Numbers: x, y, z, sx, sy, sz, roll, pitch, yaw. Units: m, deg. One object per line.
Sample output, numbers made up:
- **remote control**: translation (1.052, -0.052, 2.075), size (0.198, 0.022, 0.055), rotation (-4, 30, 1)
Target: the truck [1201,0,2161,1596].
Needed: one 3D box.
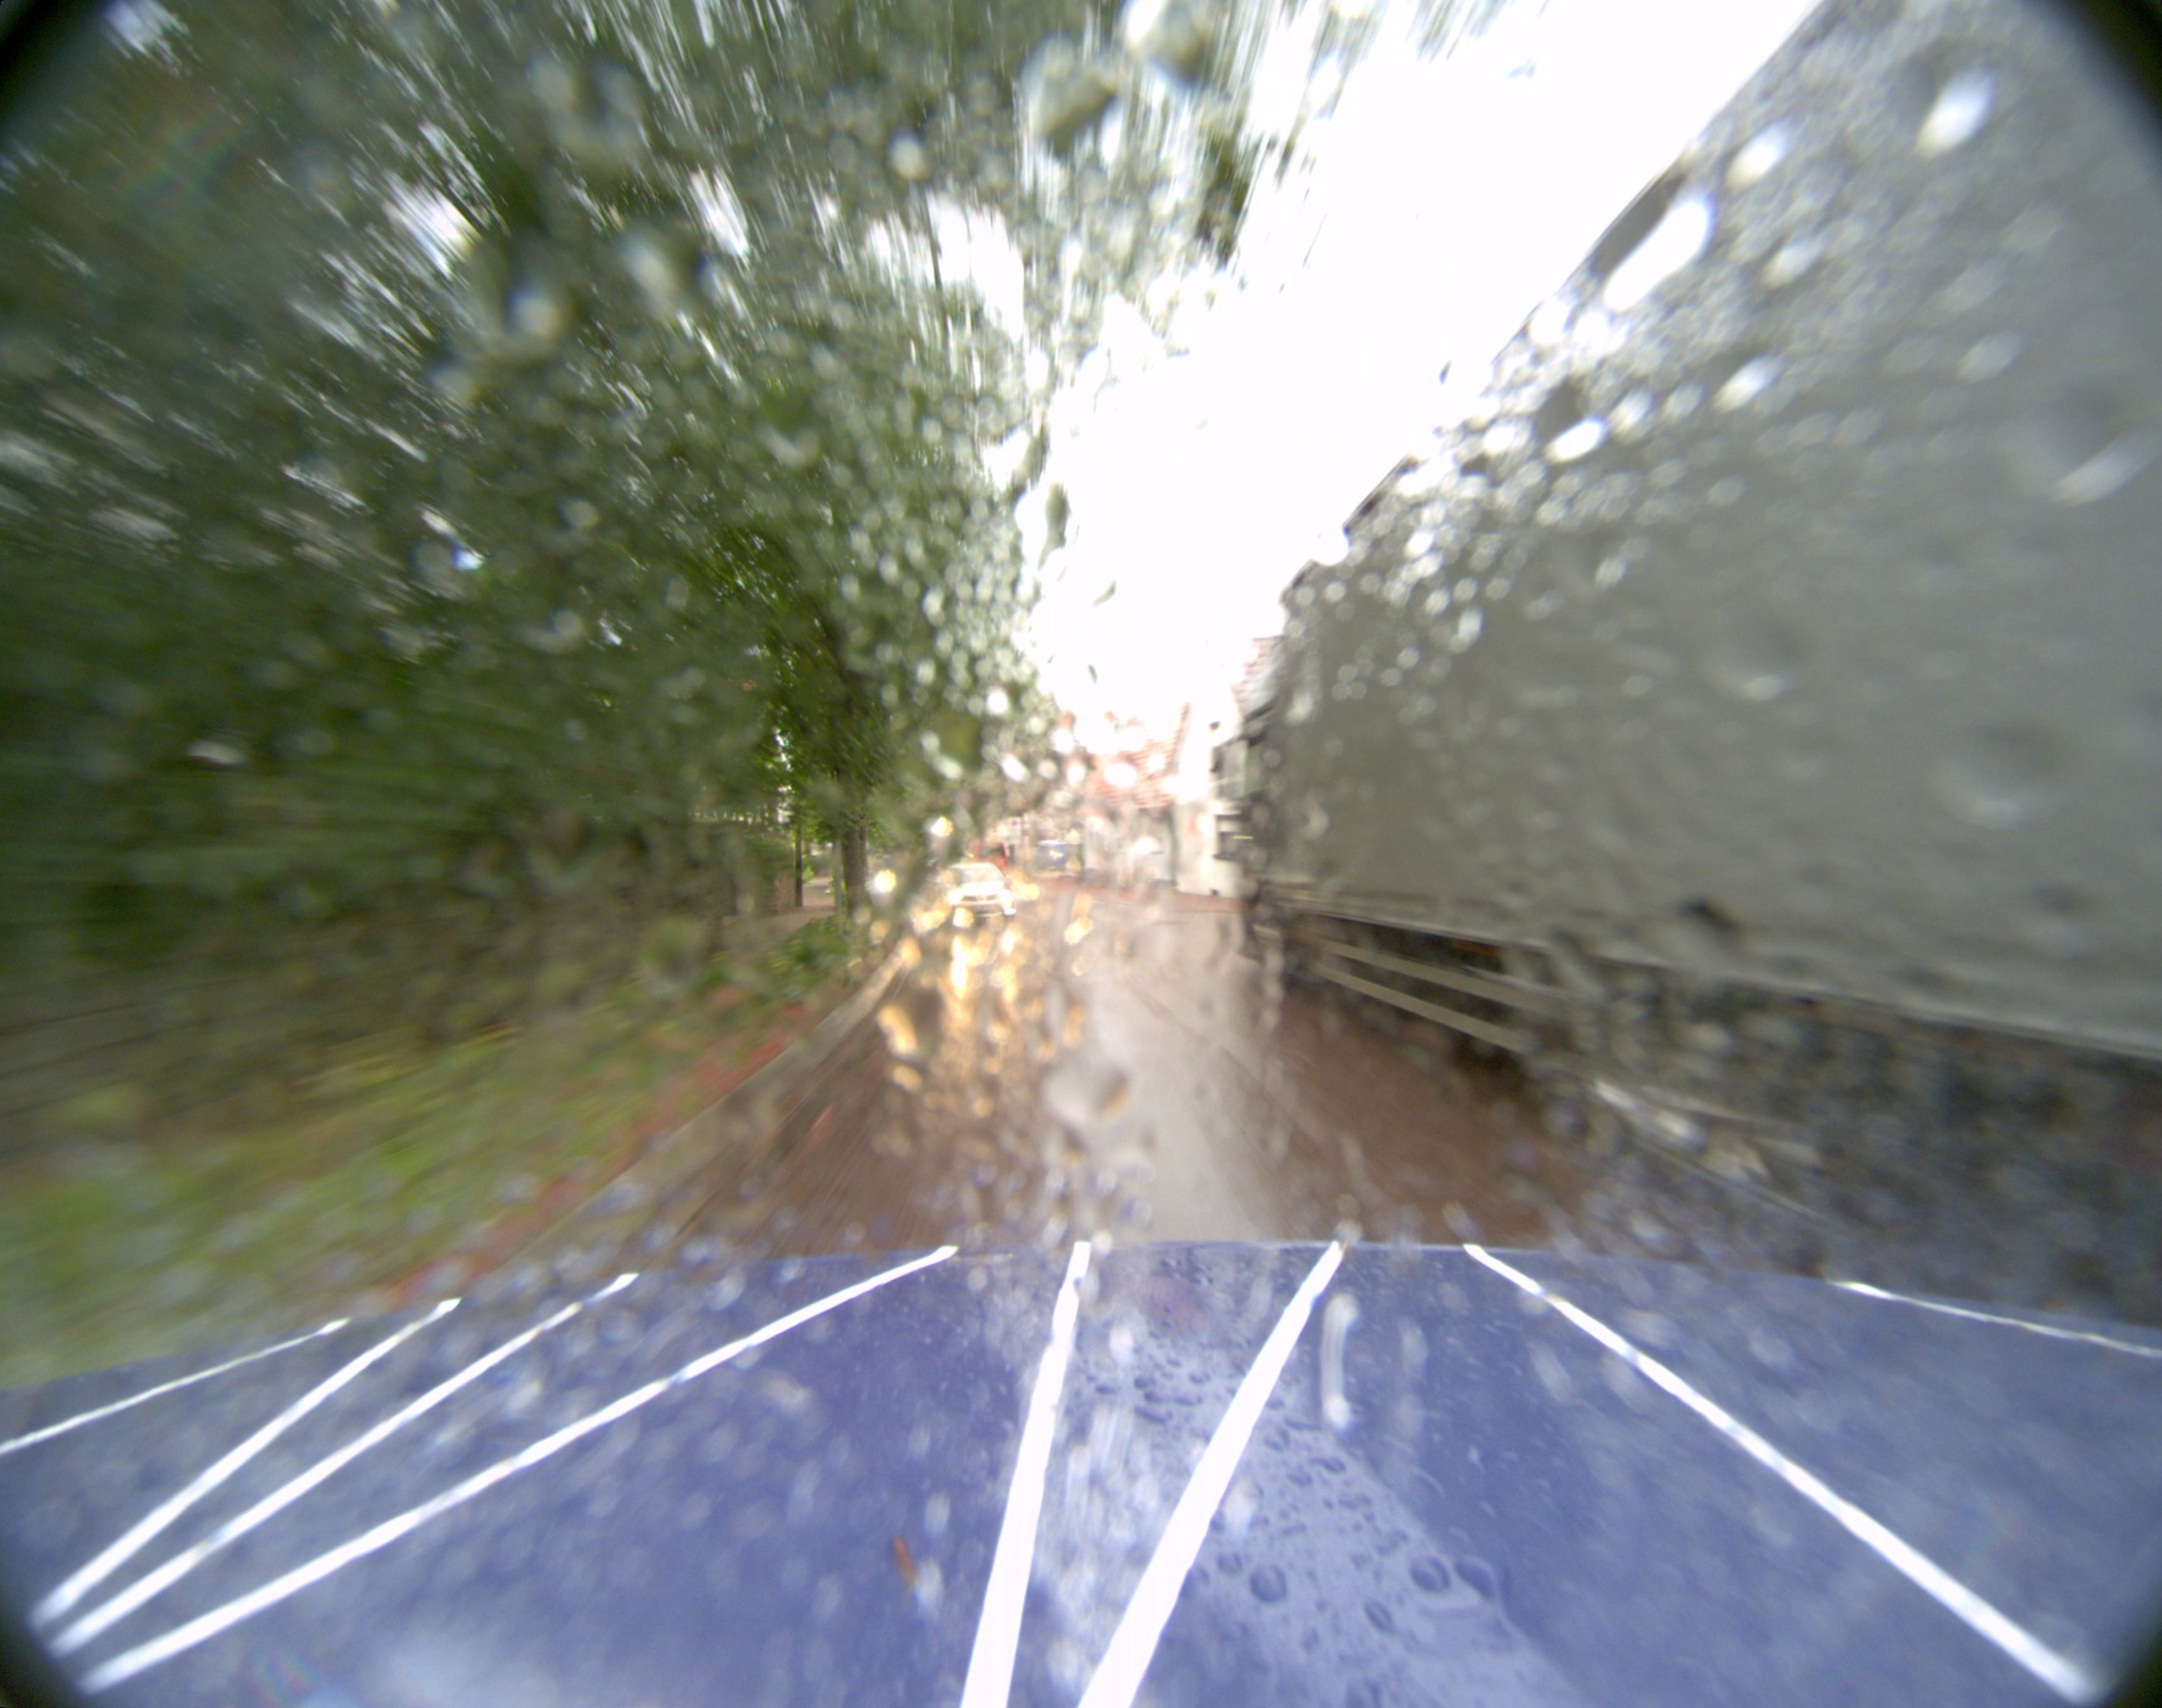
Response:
- **truck**: translation (3.375, -0.531, 5.136), size (2.856, 3.945, 10.427), rotation (-2, 0, -3)

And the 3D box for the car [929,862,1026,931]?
- **car**: translation (-2.753, 0.990, 19.432), size (1.861, 1.427, 4.011), rotation (-3, 1, -16)

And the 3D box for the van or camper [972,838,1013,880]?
- **van or camper**: translation (-5.848, 0.305, 49.811), size (2.001, 2.519, 4.738), rotation (-2, 1, -14)
